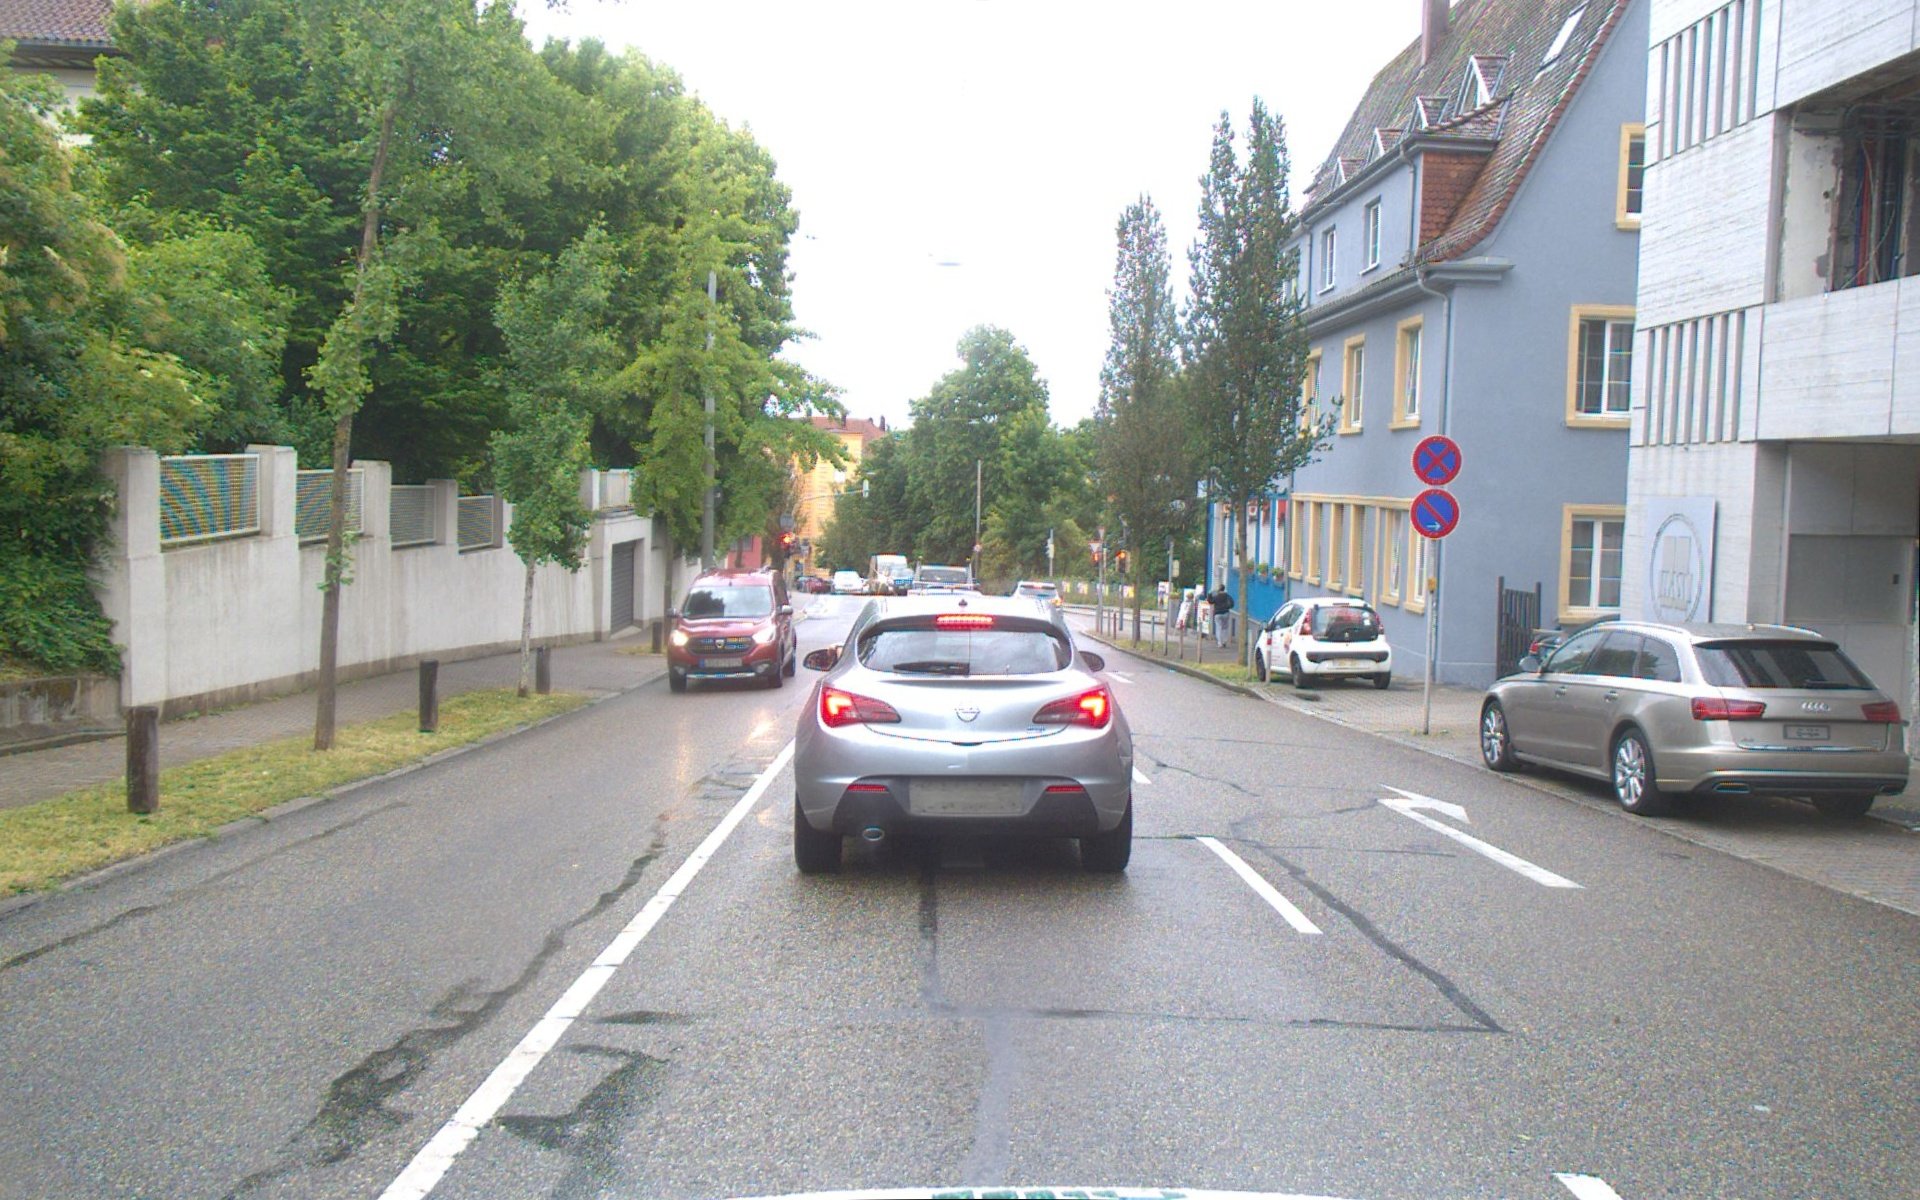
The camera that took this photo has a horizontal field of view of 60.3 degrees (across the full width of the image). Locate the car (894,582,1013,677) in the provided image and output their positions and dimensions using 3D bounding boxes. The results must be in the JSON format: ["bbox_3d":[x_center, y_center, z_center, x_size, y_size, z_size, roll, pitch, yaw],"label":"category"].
[{"bbox_3d":[-0.177,0.468,29.424,1.922,1.473,4.304,2,1,-2],"label":"car"}]

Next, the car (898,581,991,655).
[{"bbox_3d":[-0.393,0.357,37.082,1.922,1.473,4.304,2,1,-2],"label":"car"}]

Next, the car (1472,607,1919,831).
[{"bbox_3d":[6.055,0.849,13.895,1.923,1.473,4.524,1,1,-3],"label":"car"}]

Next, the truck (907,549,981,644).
[{"bbox_3d":[-0.511,-0.126,47.080,1.922,2.471,4.934,2,1,-2],"label":"truck"}]

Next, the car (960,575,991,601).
[{"bbox_3d":[1.006,-0.788,108.915,1.689,1.666,3.876,0,0,-4],"label":"car"}]

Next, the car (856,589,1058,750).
[{"bbox_3d":[-0.099,0.666,18.324,1.922,1.473,4.304,2,1,-2],"label":"car"}]

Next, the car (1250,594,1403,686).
[{"bbox_3d":[6.291,0.642,28.780,1.688,1.473,3.878,0,0,-2],"label":"car"}]

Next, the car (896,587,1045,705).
[{"bbox_3d":[0.066,0.594,24.048,1.922,1.473,4.304,2,1,-2],"label":"car"}]

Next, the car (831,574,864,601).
[{"bbox_3d":[-6.298,-0.707,93.059,1.688,1.485,3.878,0,0,-2],"label":"car"}]

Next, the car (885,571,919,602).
[{"bbox_3d":[-3.249,-0.755,92.558,1.833,1.666,3.878,0,0,-2],"label":"car"}]

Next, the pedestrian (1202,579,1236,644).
[{"bbox_3d":[7.172,0.310,45.786,0.767,1.759,0.650,2,0,-1],"label":"pedestrian"}]

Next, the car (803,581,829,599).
[{"bbox_3d":[-13.767,-0.962,157.901,1.696,1.666,3.859,0,0,-18],"label":"car"}]

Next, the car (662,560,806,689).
[{"bbox_3d":[-3.498,0.350,26.303,1.711,1.860,4.458,-1,0,-1],"label":"car"}]

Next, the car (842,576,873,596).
[{"bbox_3d":[-8.607,-1.179,139.212,1.696,1.570,3.859,0,0,-18],"label":"car"}]

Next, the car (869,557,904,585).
[{"bbox_3d":[-4.481,-1.758,100.176,1.691,1.666,3.871,0,0,-9],"label":"car"}]

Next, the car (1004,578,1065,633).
[{"bbox_3d":[2.455,0.158,55.155,1.688,1.744,3.878,0,0,-3],"label":"car"}]

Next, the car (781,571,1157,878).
[{"bbox_3d":[-0.037,0.591,9.950,1.800,1.459,3.878,1,0,-3],"label":"car"}]
